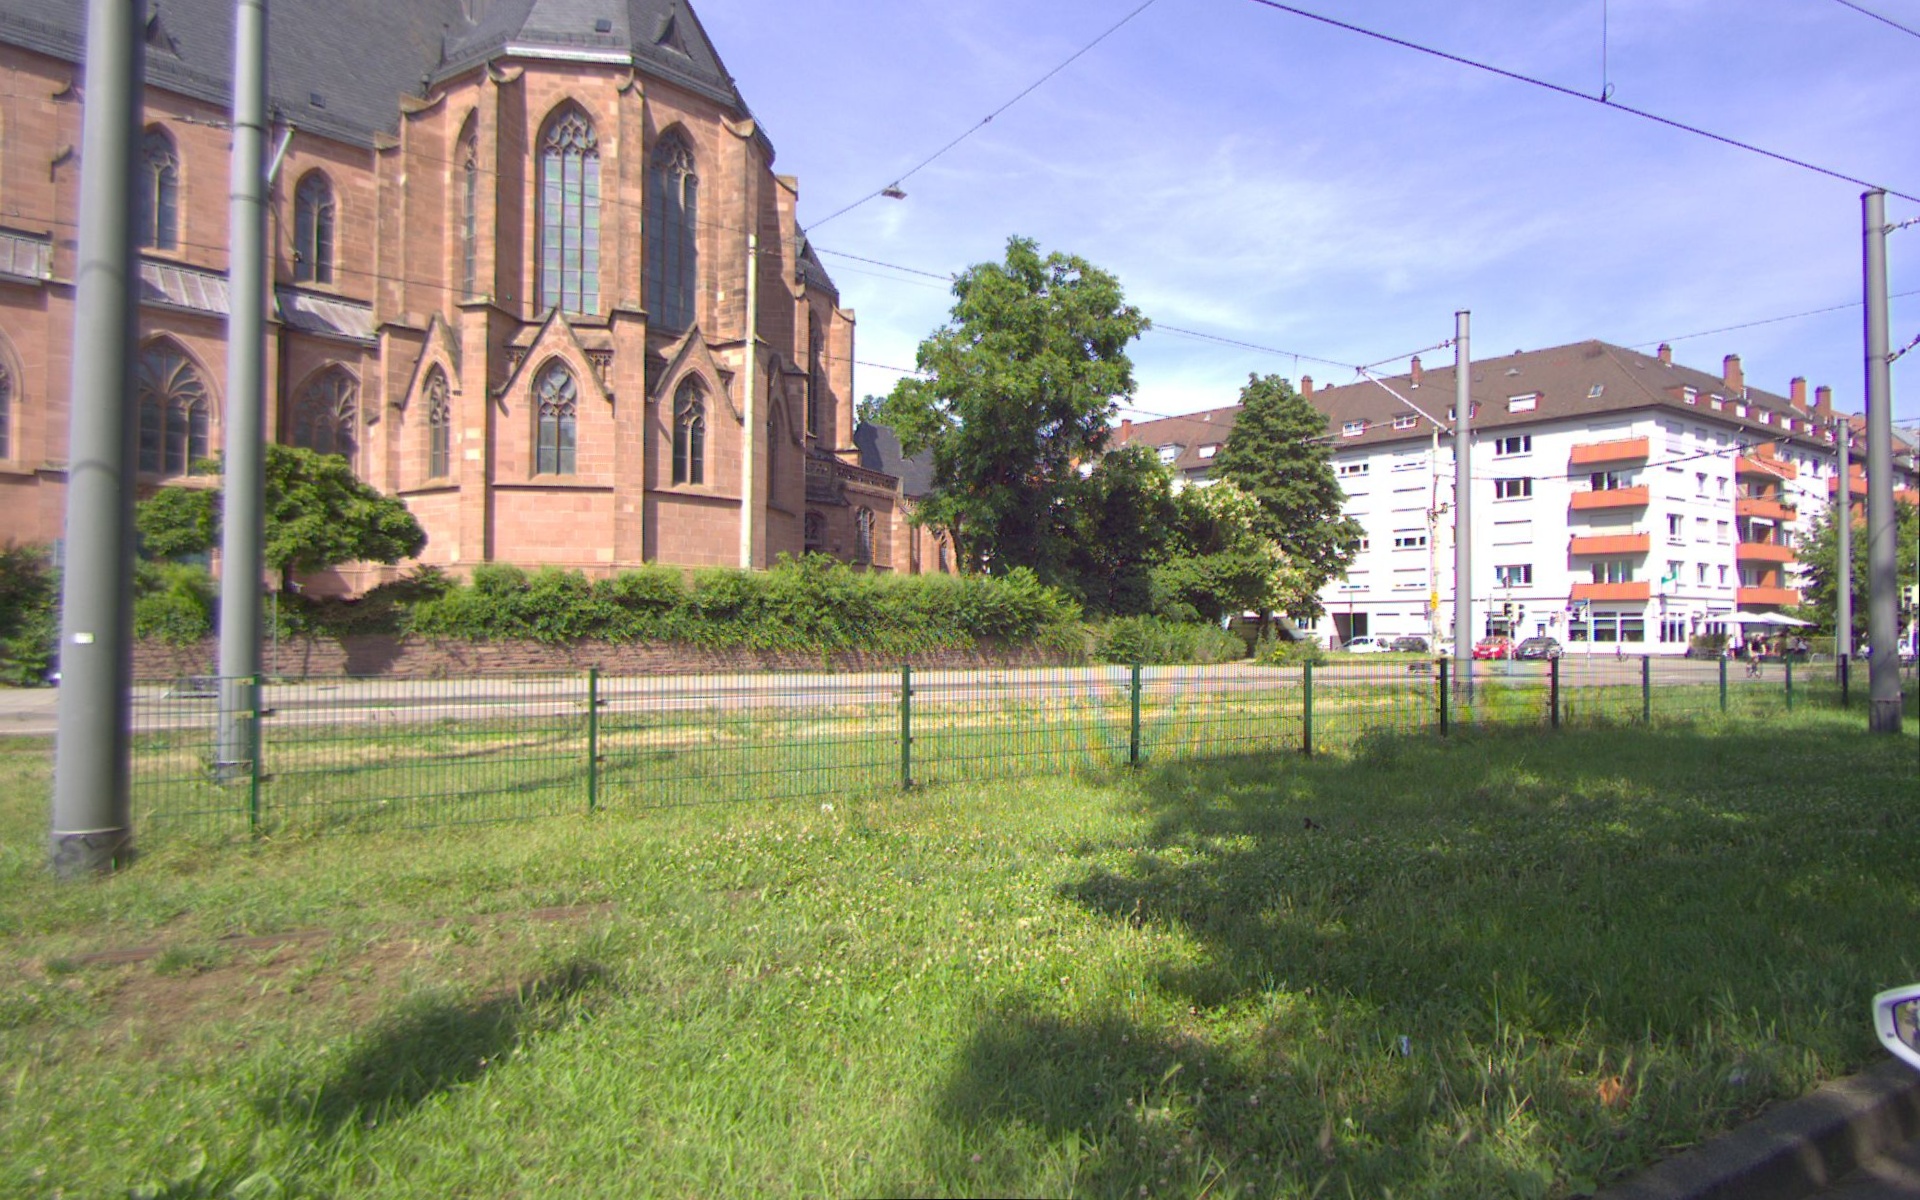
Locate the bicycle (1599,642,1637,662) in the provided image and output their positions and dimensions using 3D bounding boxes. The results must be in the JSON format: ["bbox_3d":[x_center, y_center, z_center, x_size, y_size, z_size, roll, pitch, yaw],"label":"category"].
[{"bbox_3d":[39.010,3.095,59.526,2.780,1.152,0.905,1,-2,-35],"label":"bicycle"}]

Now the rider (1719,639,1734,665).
[{"bbox_3d":[43.733,2.960,57.299,0.616,1.442,0.587,-1,-2,42],"label":"rider"}]

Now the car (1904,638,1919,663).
[{"bbox_3d":[59.381,3.063,61.378,3.963,1.517,1.758,2,-4,-37],"label":"car"}]

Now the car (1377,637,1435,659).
[{"bbox_3d":[30.079,3.187,67.677,4.131,1.425,1.917,2,-2,-39],"label":"car"}]

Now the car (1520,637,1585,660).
[{"bbox_3d":[36.211,2.936,61.336,4.600,1.394,1.820,2,-2,-37],"label":"car"}]

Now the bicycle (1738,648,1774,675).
[{"bbox_3d":[32.223,2.484,40.660,1.905,1.062,0.528,2,-4,-32],"label":"bicycle"}]

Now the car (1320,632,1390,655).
[{"bbox_3d":[24.798,2.732,63.075,3.701,1.425,1.824,-2,-3,43],"label":"car"}]

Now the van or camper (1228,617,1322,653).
[{"bbox_3d":[21.026,2.330,67.251,2.229,2.360,5.702,2,-2,-43],"label":"van or camper"}]

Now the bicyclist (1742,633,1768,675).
[{"bbox_3d":[32.155,2.174,40.619,0.687,1.644,0.619,1,-2,-32],"label":"bicyclist"}]

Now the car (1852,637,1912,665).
[{"bbox_3d":[52.204,2.882,56.854,3.963,1.517,1.758,2,-4,-37],"label":"car"}]

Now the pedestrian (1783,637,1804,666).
[{"bbox_3d":[47.023,2.910,56.658,0.846,1.593,0.688,-1,-2,35],"label":"pedestrian"}]

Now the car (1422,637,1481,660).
[{"bbox_3d":[32.400,3.167,66.162,4.131,1.425,1.917,2,-2,-39],"label":"car"}]

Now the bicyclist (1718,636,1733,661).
[{"bbox_3d":[43.328,2.736,56.845,0.616,1.442,0.587,-1,-2,42],"label":"bicyclist"}]

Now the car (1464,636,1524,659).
[{"bbox_3d":[33.990,3.014,63.882,4.131,1.425,1.917,2,-2,-39],"label":"car"}]
